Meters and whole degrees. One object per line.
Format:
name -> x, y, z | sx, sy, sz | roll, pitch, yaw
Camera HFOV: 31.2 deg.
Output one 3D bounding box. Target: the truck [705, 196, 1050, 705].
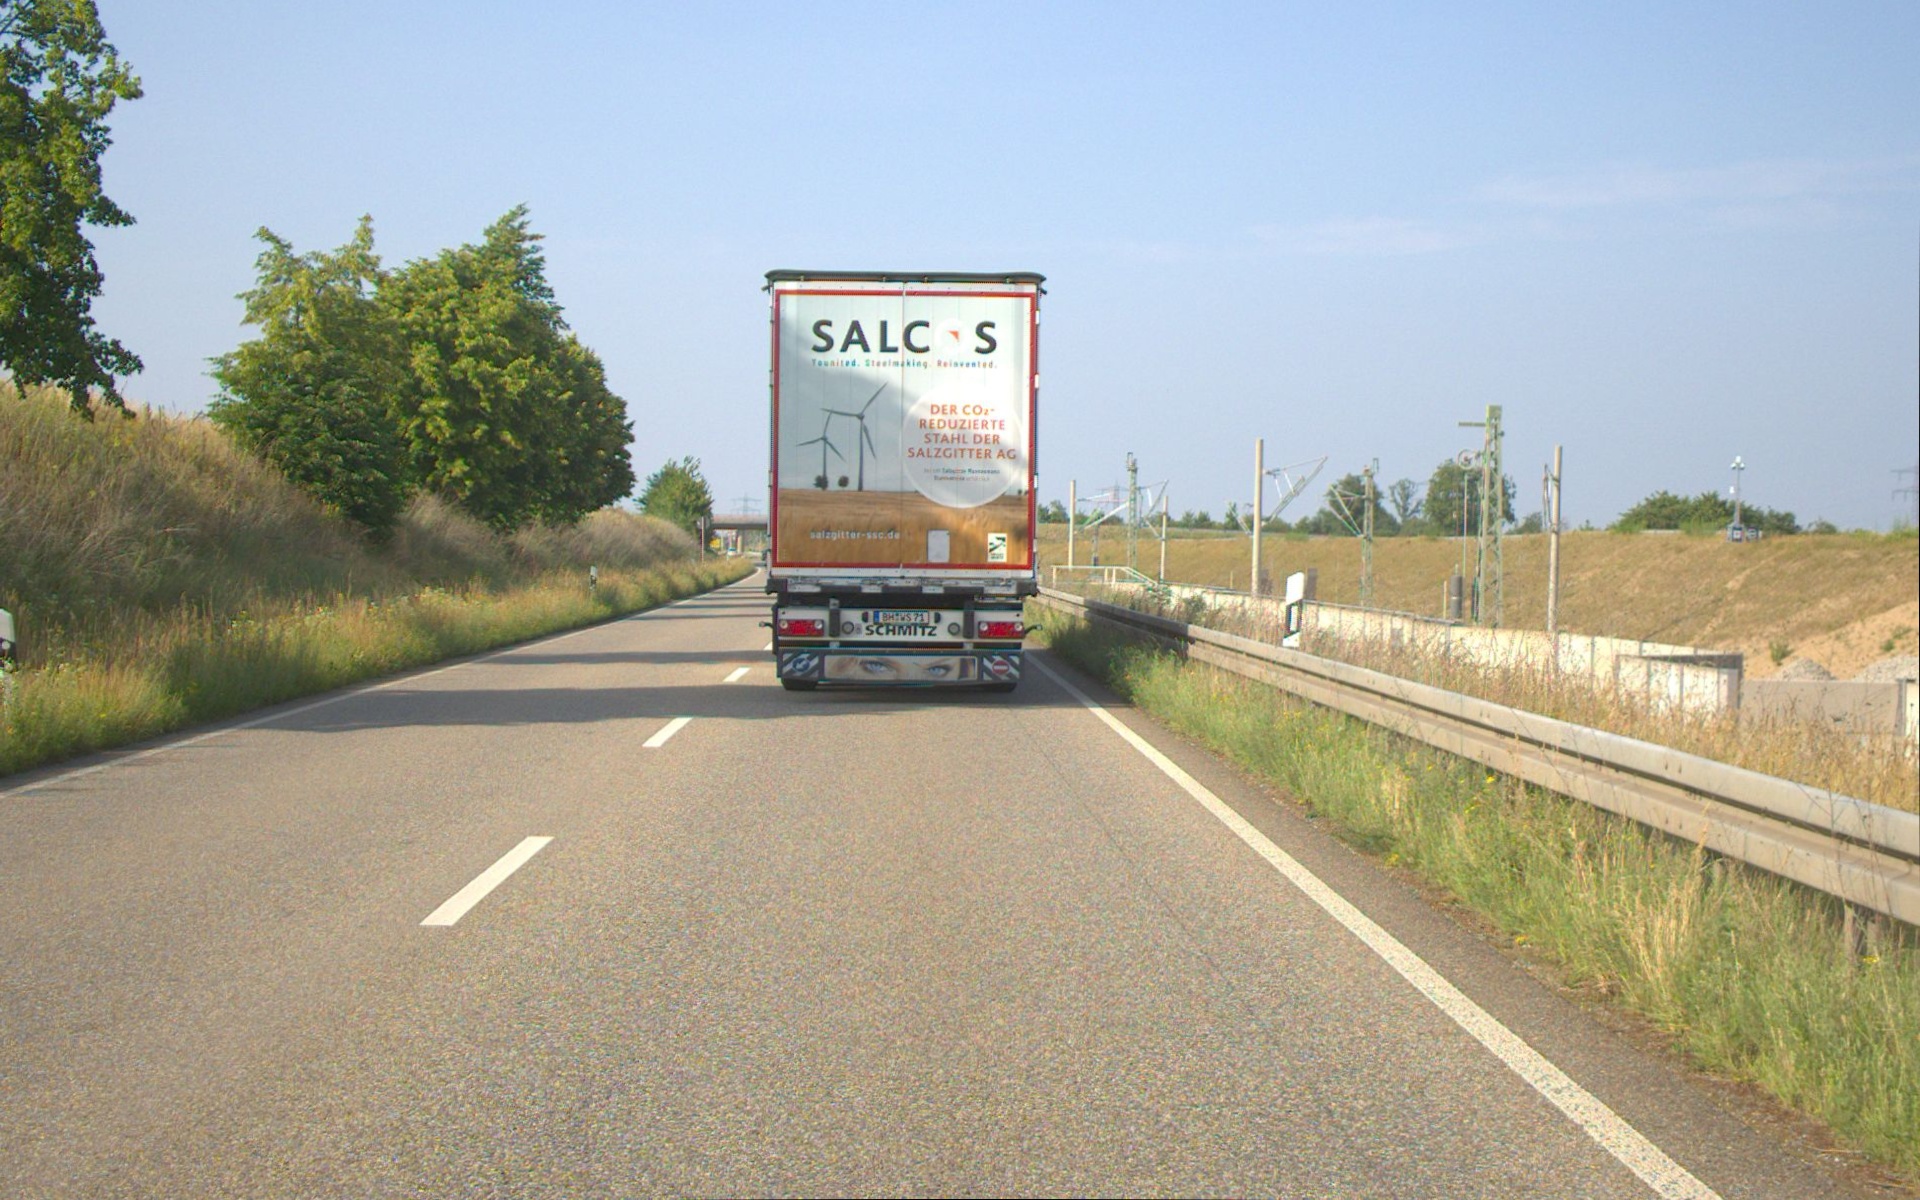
truck -> -0.776, -1.455, 36.007 | 3.153, 4.672, 8.442 | 0, 1, 0
